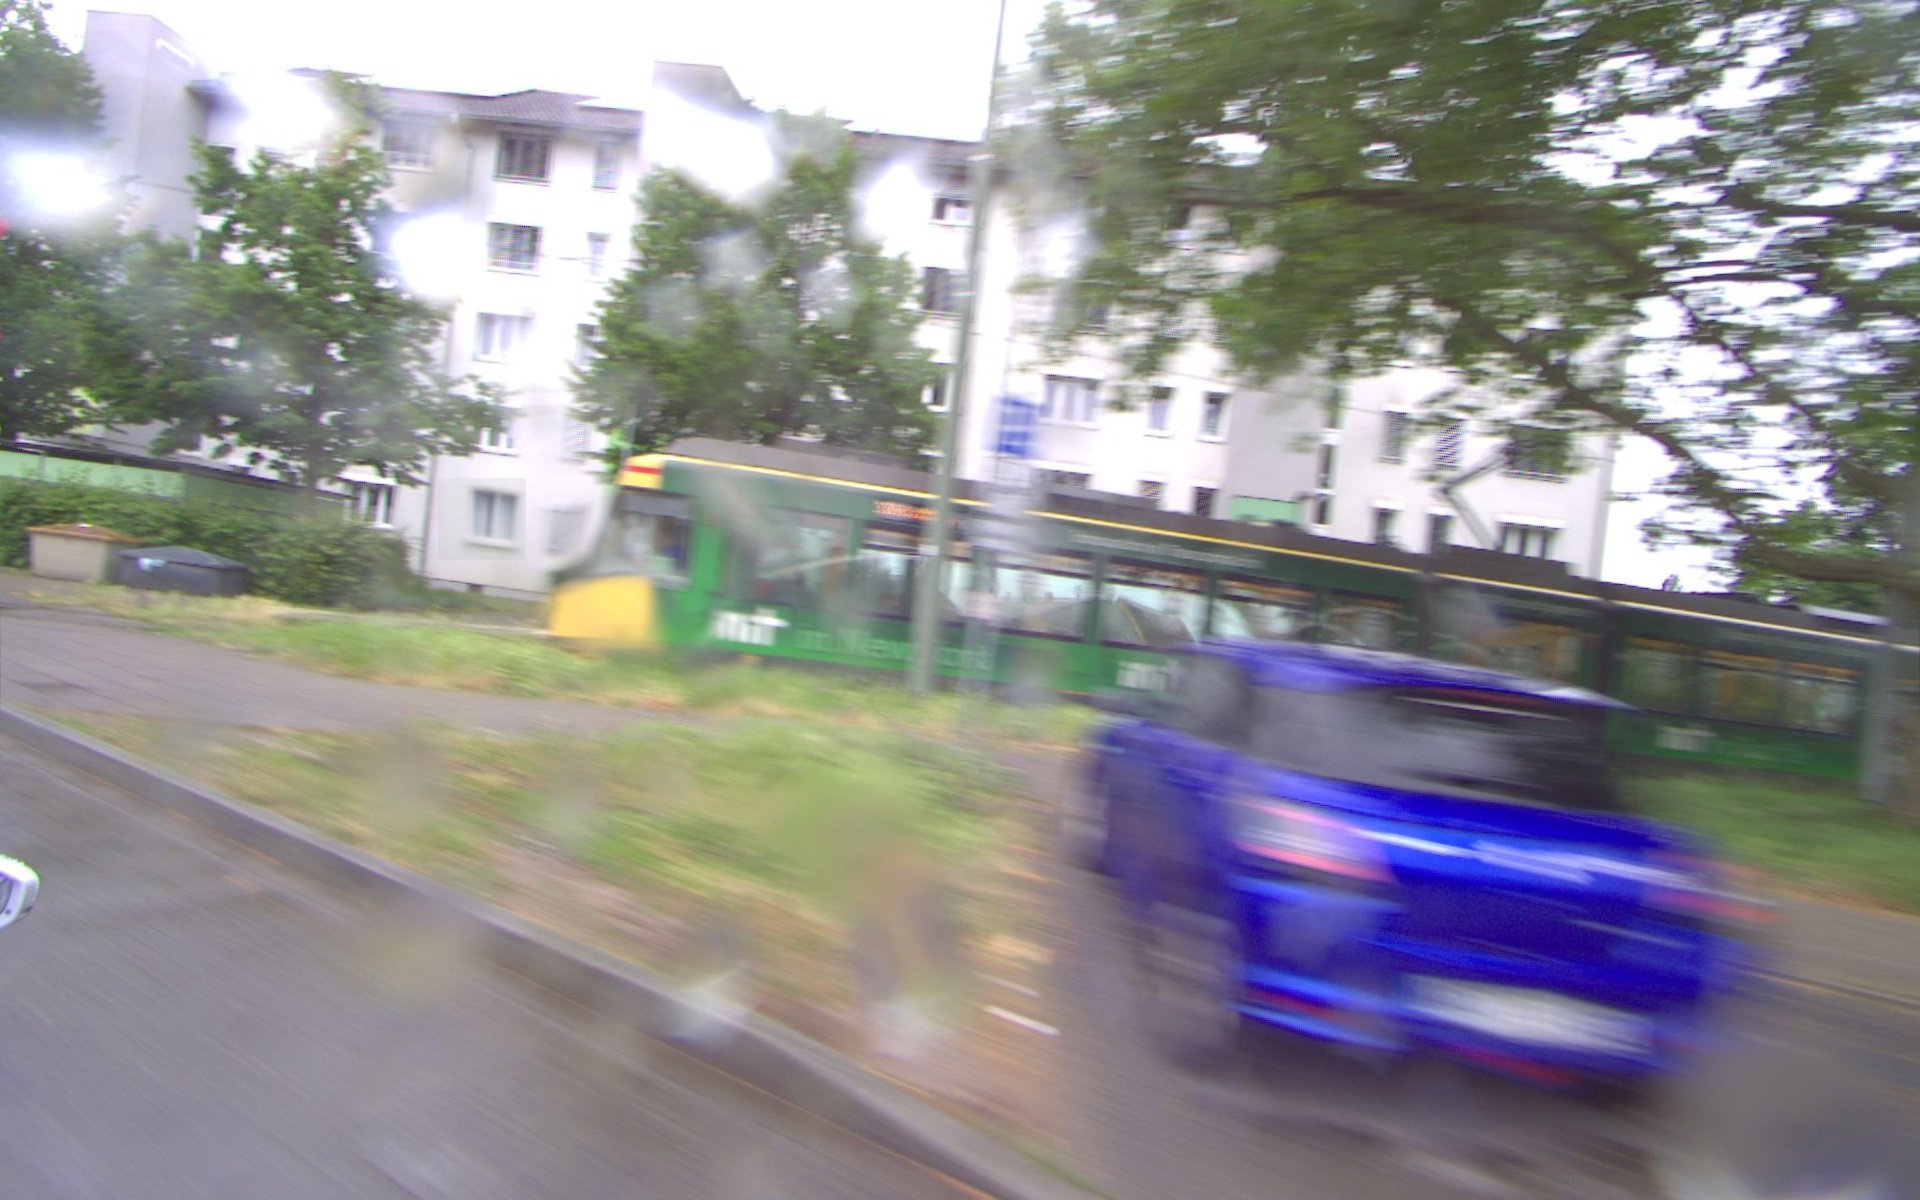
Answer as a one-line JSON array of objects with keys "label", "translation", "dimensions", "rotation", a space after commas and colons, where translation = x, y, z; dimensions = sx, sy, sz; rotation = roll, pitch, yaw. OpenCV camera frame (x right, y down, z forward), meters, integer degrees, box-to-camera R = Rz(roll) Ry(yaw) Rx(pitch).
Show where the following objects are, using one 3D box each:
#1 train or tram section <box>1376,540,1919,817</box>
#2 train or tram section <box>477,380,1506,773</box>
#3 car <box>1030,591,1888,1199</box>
[{"label": "train or tram section", "translation": [15.027, 1.788, 18.528], "dimensions": [14.500, 3.631, 2.710], "rotation": [7, -1, -13]}, {"label": "train or tram section", "translation": [0.988, 0.006, 15.314], "dimensions": [14.500, 3.631, 2.710], "rotation": [7, -1, -13]}, {"label": "car", "translation": [1.578, 0.869, 4.895], "dimensions": [1.964, 1.501, 3.999], "rotation": [8, 0, -1]}]
